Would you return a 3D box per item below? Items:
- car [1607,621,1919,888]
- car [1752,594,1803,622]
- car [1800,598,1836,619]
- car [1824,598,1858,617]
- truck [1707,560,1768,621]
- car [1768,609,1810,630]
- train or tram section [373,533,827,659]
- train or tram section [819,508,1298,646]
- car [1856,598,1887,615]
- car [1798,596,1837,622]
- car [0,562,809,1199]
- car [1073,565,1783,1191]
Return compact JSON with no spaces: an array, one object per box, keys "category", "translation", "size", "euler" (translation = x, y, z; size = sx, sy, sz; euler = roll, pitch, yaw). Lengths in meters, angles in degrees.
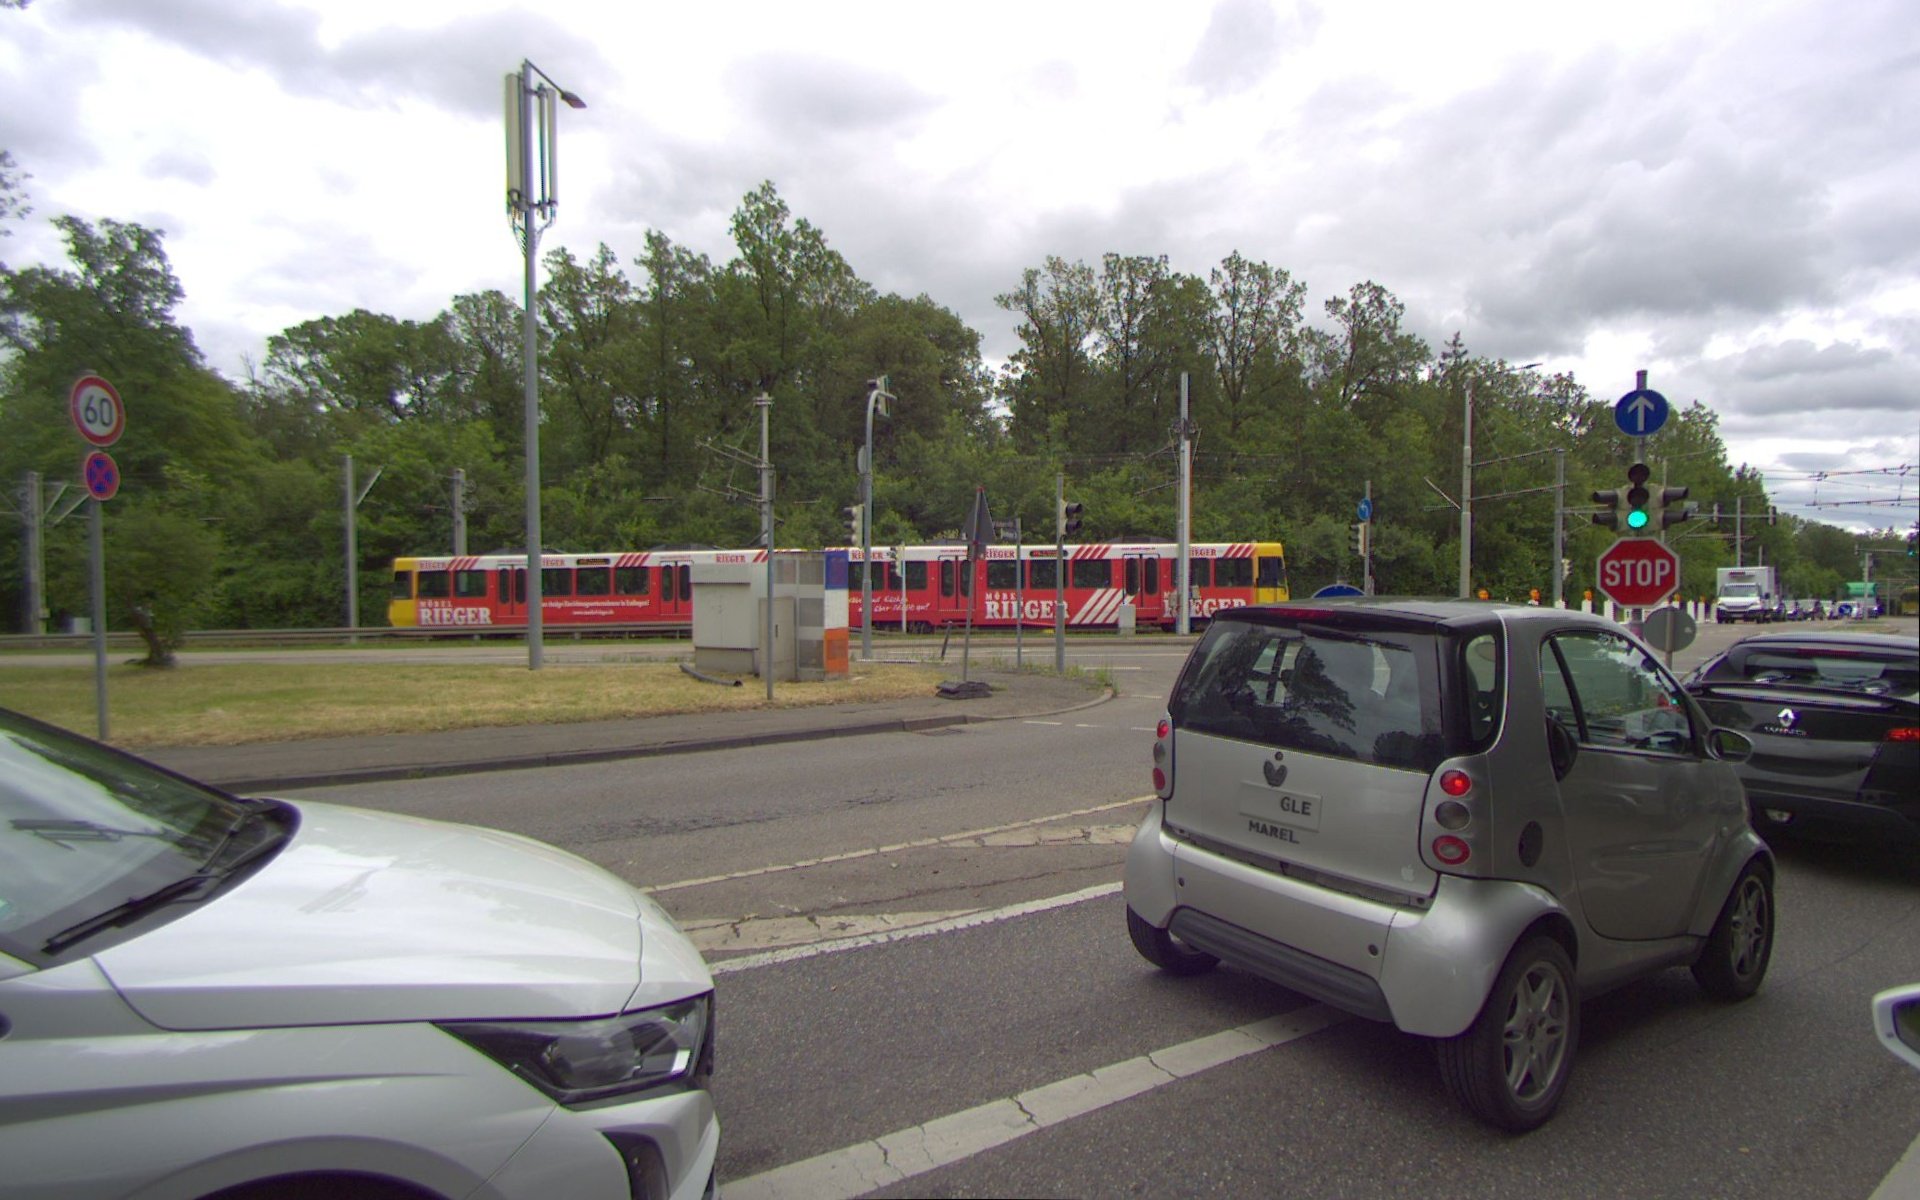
[{"category":"car","translation":[6.054,0.858,6.947],"size":[3.448,1.380,1.759],"euler":[0,0,-40]},{"category":"car","translation":[54.444,0.503,66.888],"size":[4.810,1.773,1.944],"euler":[0,1,-42]},{"category":"car","translation":[70.200,0.682,82.181],"size":[1.942,1.628,4.282],"euler":[1,1,45]},{"category":"car","translation":[74.884,0.640,85.338],"size":[1.942,1.562,4.368],"euler":[1,1,45]},{"category":"truck","translation":[44.625,-0.503,57.582],"size":[2.420,3.267,7.120],"euler":[0,0,41]},{"category":"car","translation":[59.538,1.366,72.134],"size":[1.942,1.380,4.660],"euler":[1,1,45]},{"category":"train or tram section","translation":[-14.822,-0.219,41.391],"size":[18.349,4.477,2.967],"euler":[2,0,9]},{"category":"train or tram section","translation":[3.773,-0.867,39.906],"size":[18.179,4.712,2.956],"euler":[2,0,0]},{"category":"car","translation":[85.361,0.584,94.022],"size":[1.942,1.561,4.282],"euler":[1,1,45]},{"category":"car","translation":[65.482,0.652,76.653],"size":[1.942,1.869,4.660],"euler":[1,1,45]},{"category":"car","translation":[-2.416,0.703,1.574],"size":[4.022,1.499,1.643],"euler":[0,0,-28]},{"category":"car","translation":[1.928,0.723,3.975],"size":[2.701,1.607,1.447],"euler":[0,0,-36]}]
